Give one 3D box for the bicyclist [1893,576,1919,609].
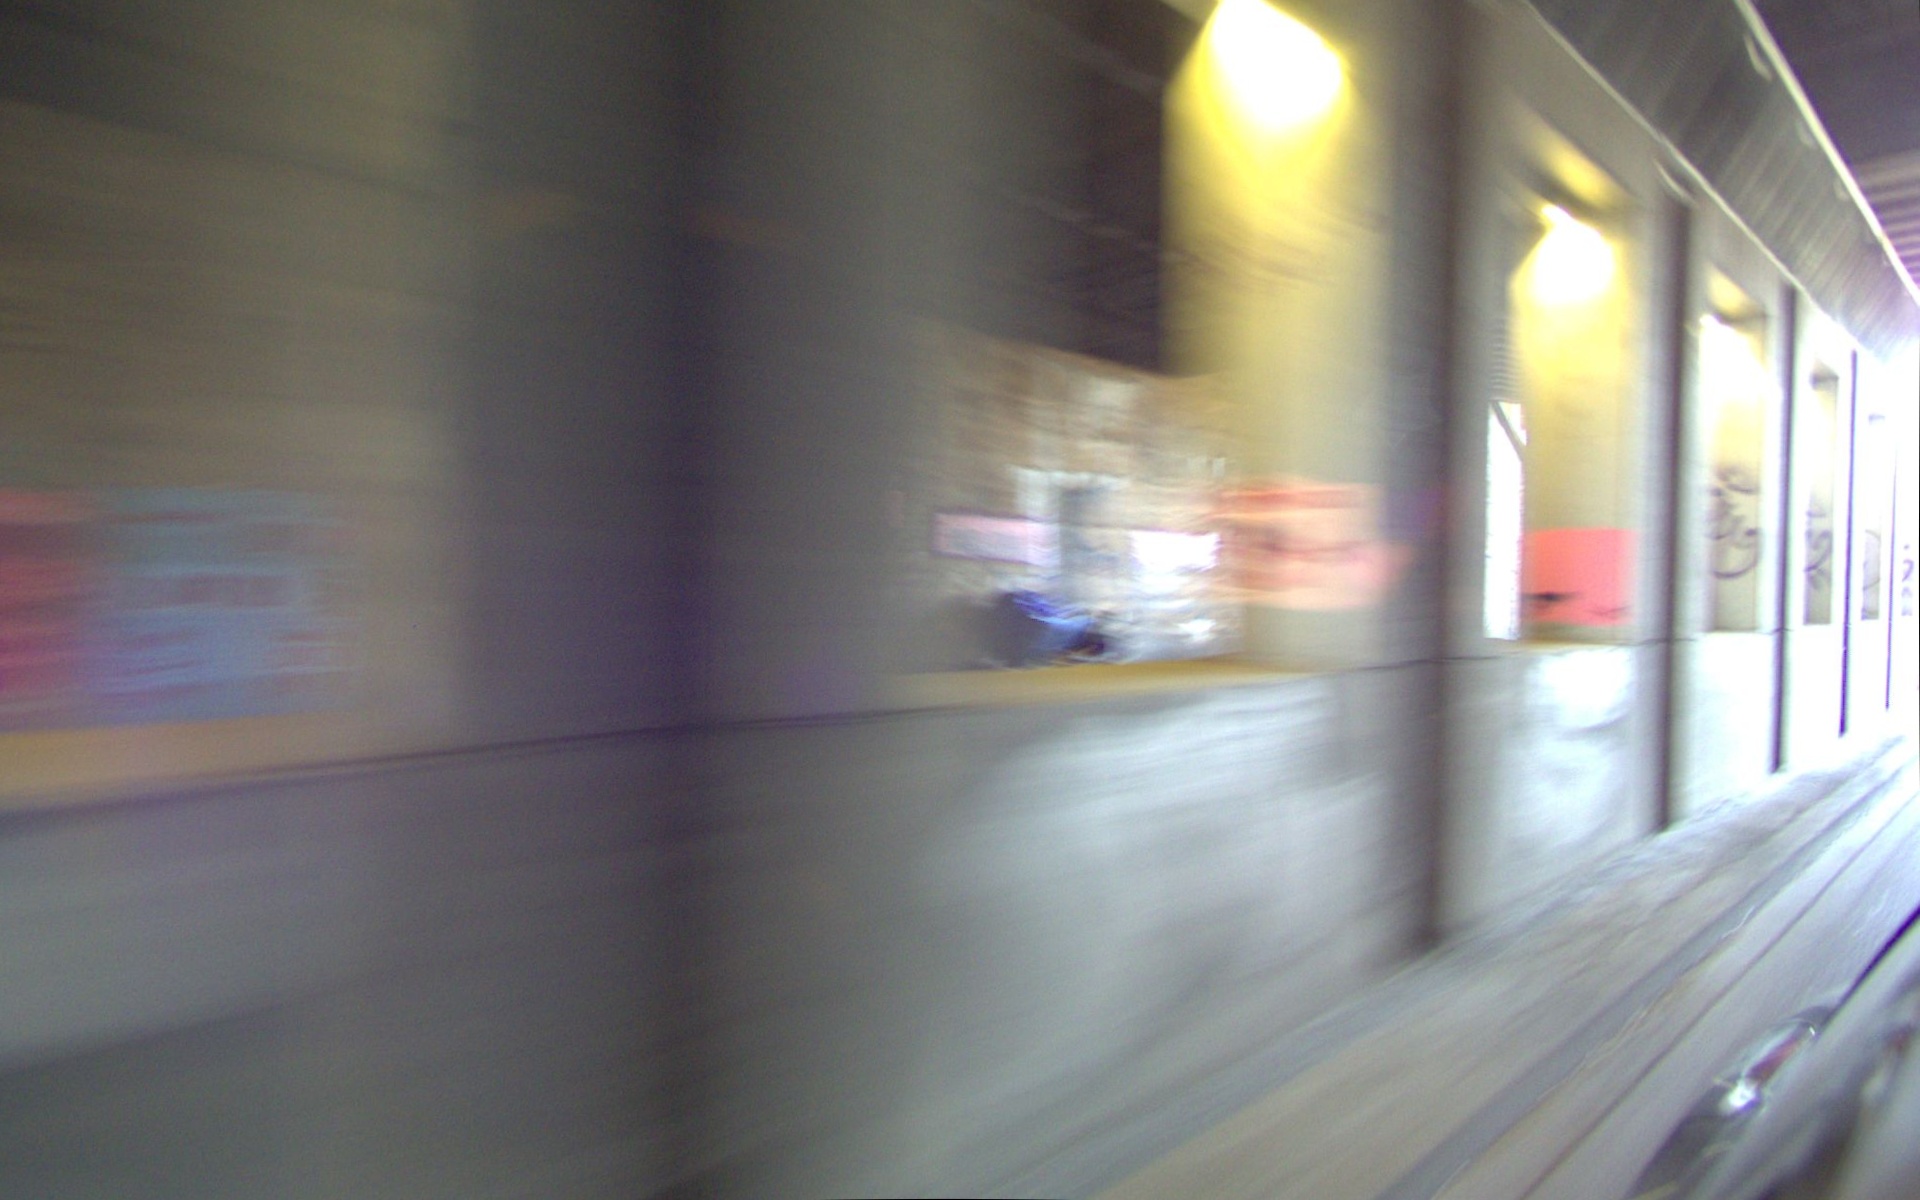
[{"bbox_3d":[49.072,-0.389,52.484,1.129,1.619,0.813,1,2,-42],"label":"bicyclist"}]
